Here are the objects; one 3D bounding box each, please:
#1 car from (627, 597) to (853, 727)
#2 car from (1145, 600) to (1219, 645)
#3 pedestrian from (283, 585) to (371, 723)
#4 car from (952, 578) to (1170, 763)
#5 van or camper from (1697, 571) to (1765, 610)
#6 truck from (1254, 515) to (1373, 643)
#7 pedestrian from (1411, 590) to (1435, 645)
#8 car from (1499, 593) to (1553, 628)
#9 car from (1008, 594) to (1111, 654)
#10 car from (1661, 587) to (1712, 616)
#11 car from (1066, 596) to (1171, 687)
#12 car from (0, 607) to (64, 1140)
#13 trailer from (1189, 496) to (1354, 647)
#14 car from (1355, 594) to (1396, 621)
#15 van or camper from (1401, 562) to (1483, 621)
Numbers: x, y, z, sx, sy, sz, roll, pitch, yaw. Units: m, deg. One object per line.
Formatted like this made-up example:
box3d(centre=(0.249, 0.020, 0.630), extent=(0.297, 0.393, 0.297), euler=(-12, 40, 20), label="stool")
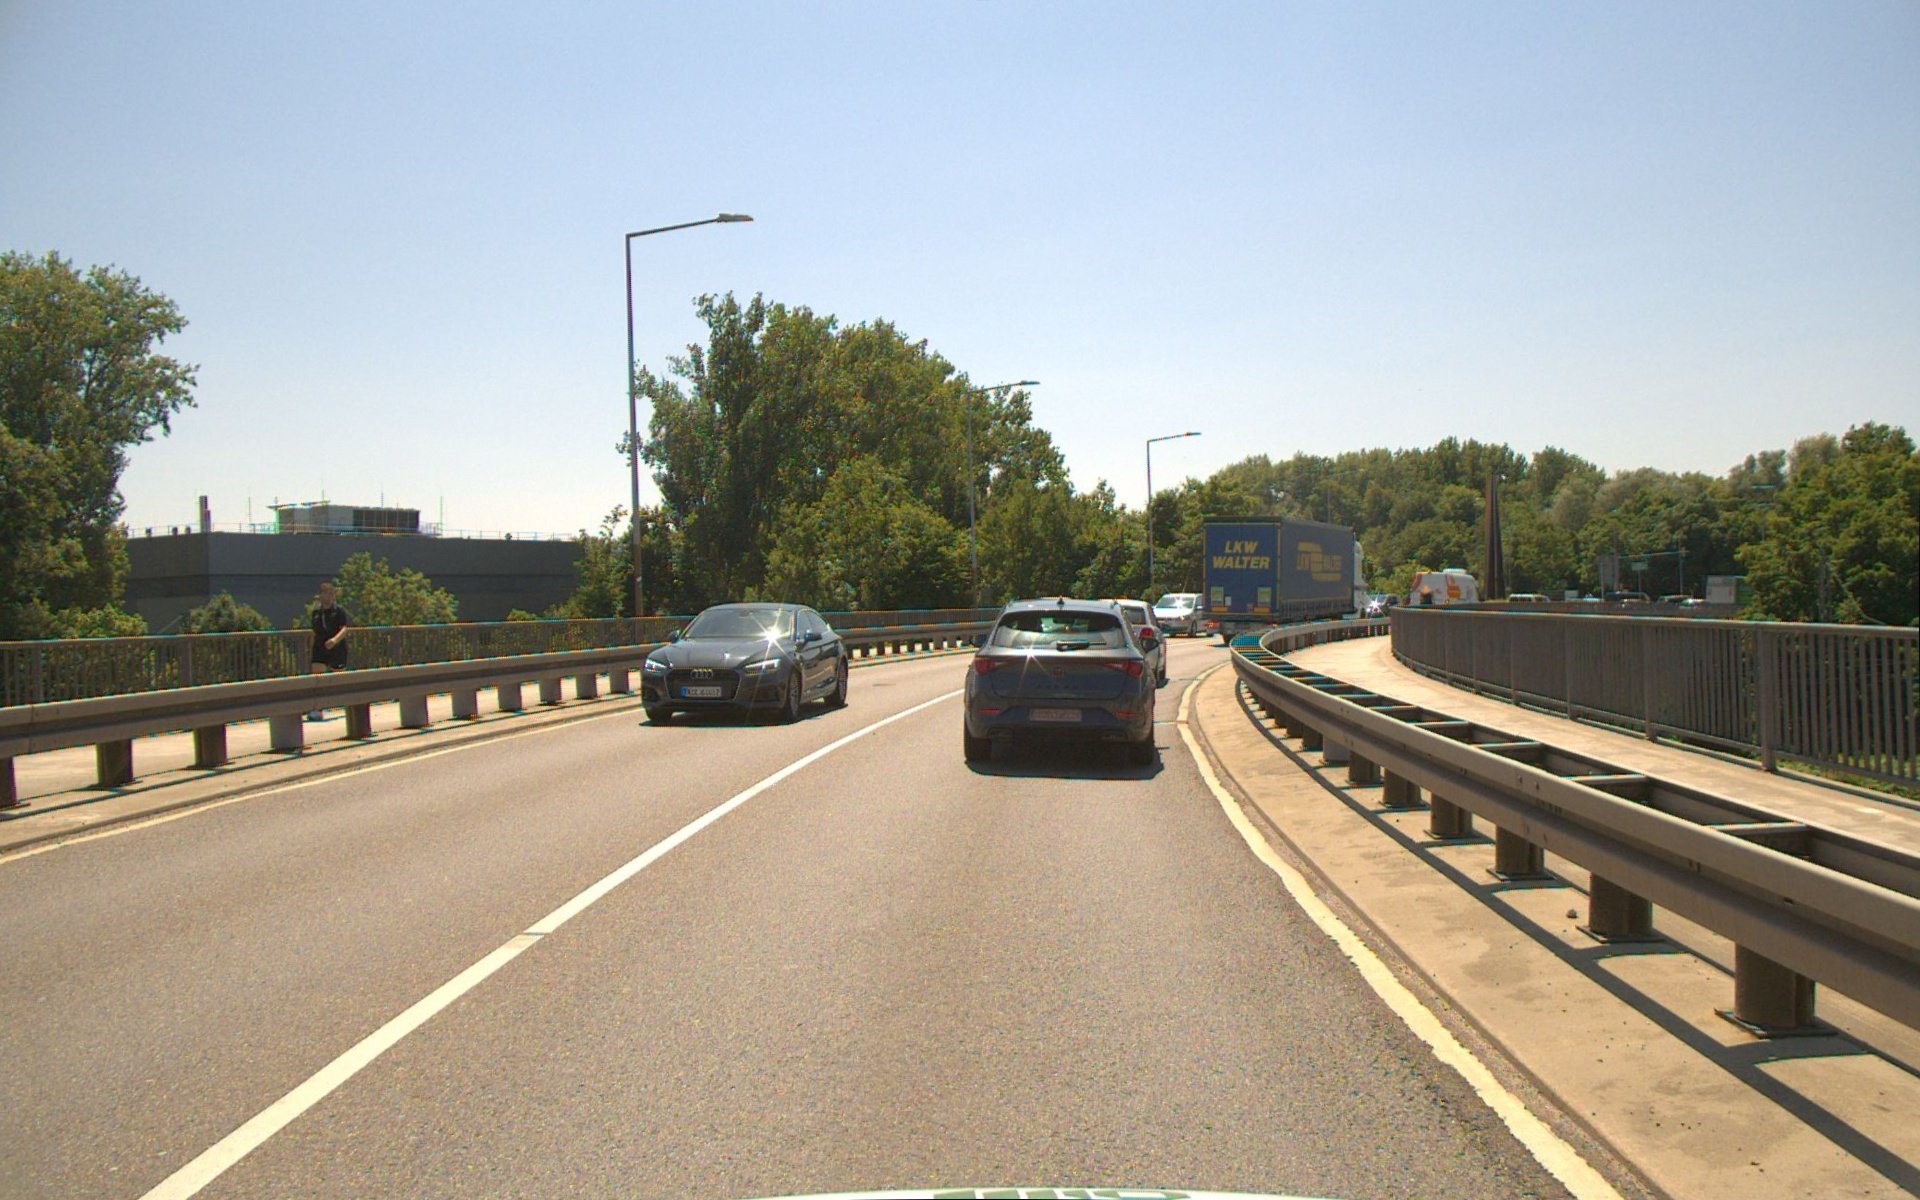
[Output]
box3d(centre=(-2.630, 0.724, 20.911), extent=(1.751, 1.440, 4.578), euler=(-1, -1, 7), label="car")
box3d(centre=(8.449, 0.819, 62.625), extent=(1.681, 1.643, 4.117), euler=(-1, 0, 24), label="car")
box3d(centre=(-7.439, 0.626, 19.461), extent=(0.699, 1.589, 0.695), euler=(-1, -1, 7), label="pedestrian")
box3d(centre=(0.941, 0.576, 15.718), extent=(1.807, 1.525, 3.759), euler=(1, 0, 3), label="car")
box3d(centre=(56.955, -0.698, 122.109), extent=(4.909, 2.331, 2.460), euler=(5, 2, -38), label="van or camper")
box3d(centre=(13.837, -0.746, 64.271), extent=(3.106, 4.665, 7.394), euler=(1, -1, 23), label="truck")
box3d(centre=(16.853, 0.632, 60.155), extent=(0.722, 2.002, 0.734), euler=(1, -1, 24), label="pedestrian")
box3d(centre=(31.034, 0.585, 90.665), extent=(1.855, 1.882, 3.988), euler=(1, -1, 33), label="car")
box3d(centre=(2.692, 0.630, 43.912), extent=(1.689, 1.509, 3.867), euler=(-1, -1, 20), label="car")
box3d(centre=(49.198, 0.122, 111.980), extent=(3.970, 1.882, 1.864), euler=(2, -1, -45), label="car")
box3d(centre=(2.878, 0.704, 29.487), extent=(1.559, 1.486, 3.547), euler=(1, 0, 10), label="car")
box3d(centre=(-3.521, 0.746, 2.923), extent=(1.752, 1.444, 3.774), euler=(-1, -1, 1), label="car")
box3d(centre=(11.200, -0.853, 58.020), extent=(3.070, 4.695, 12.944), euler=(1, 0, 22), label="trailer")
box3d(centre=(22.255, 0.399, 88.571), extent=(1.229, 1.196, 2.913), euler=(5, -1, 32), label="car")
box3d(centre=(23.539, -0.427, 80.598), extent=(2.165, 2.758, 5.907), euler=(1, 0, 34), label="van or camper")
